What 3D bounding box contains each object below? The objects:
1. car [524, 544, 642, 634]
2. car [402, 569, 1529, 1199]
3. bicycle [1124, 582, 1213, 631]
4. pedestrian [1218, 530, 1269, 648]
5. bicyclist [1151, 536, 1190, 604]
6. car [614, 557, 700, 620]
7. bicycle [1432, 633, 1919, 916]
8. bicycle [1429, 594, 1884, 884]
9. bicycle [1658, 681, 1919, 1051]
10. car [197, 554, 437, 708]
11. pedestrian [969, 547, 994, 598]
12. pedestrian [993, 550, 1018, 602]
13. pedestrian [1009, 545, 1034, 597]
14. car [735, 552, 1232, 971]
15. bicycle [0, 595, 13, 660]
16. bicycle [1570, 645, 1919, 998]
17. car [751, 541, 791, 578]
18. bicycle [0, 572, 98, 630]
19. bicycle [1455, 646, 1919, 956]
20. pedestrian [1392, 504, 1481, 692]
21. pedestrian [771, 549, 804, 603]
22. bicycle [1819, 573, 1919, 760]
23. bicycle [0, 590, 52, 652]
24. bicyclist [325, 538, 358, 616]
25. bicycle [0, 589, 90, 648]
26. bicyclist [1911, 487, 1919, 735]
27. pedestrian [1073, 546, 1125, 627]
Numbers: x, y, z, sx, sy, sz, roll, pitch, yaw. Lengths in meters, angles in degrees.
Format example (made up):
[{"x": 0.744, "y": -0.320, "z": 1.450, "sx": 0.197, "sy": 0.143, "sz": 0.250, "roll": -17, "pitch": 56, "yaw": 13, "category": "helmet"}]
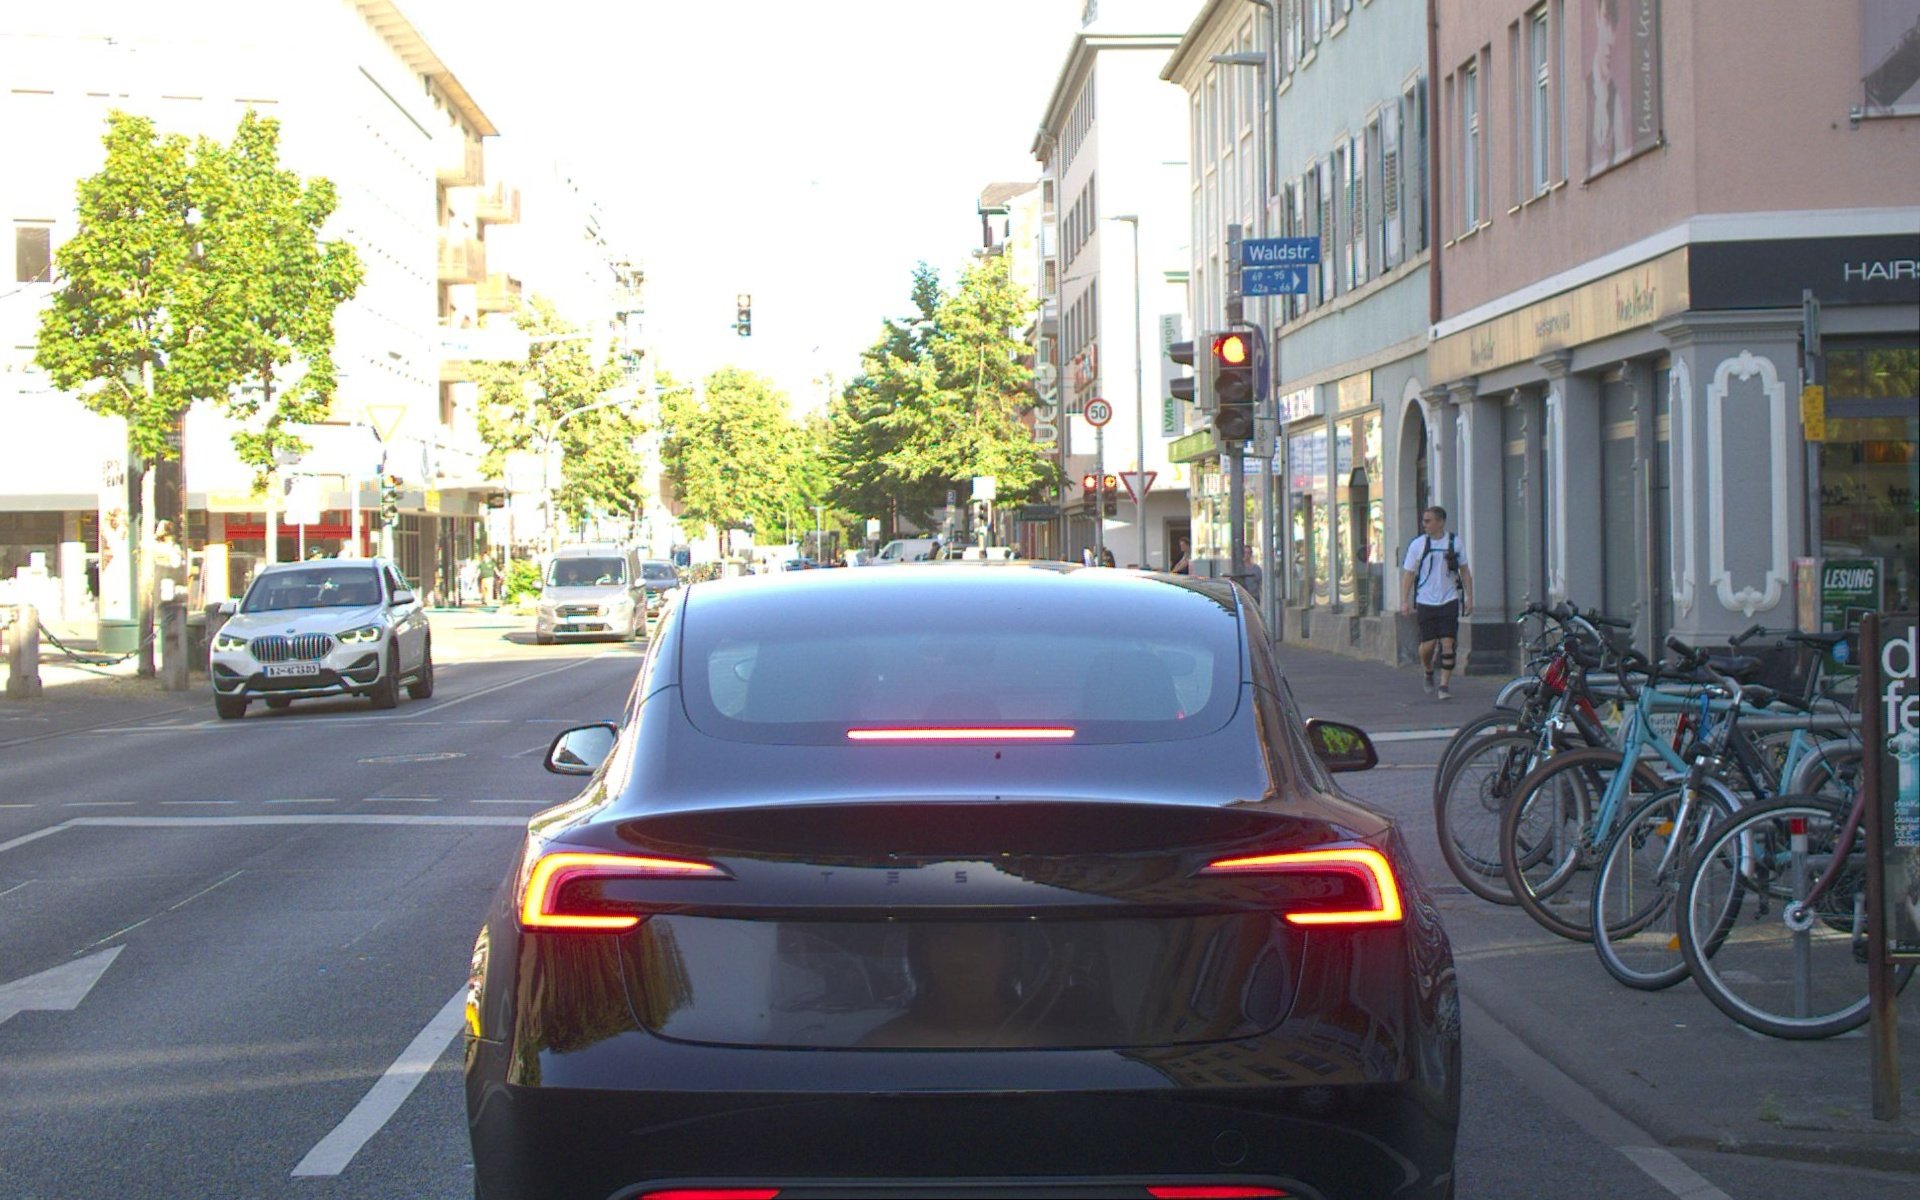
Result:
[{"x": -7.050, "y": -0.229, "z": 64.676, "sx": 1.787, "sy": 1.640, "sz": 4.403, "roll": 0, "pitch": 1, "yaw": -1, "category": "car"}, {"x": -0.014, "y": 0.655, "z": 7.564, "sx": 1.822, "sy": 1.437, "sz": 4.000, "roll": 0, "pitch": 1, "yaw": -1, "category": "car"}, {"x": 4.327, "y": 0.132, "z": 71.350, "sx": 1.784, "sy": 1.003, "sz": 0.472, "roll": 1, "pitch": 0, "yaw": -16, "category": "bicycle"}, {"x": 4.197, "y": -0.160, "z": 50.902, "sx": 0.706, "sy": 1.736, "sz": 0.540, "roll": 0, "pitch": 1, "yaw": -1, "category": "pedestrian"}, {"x": 4.373, "y": -0.627, "z": 71.357, "sx": 0.669, "sy": 1.390, "sz": 0.462, "roll": 1, "pitch": 0, "yaw": -16, "category": "bicyclist"}, {"x": -7.152, "y": -0.290, "z": 81.446, "sx": 1.715, "sy": 1.441, "sz": 3.845, "roll": 1, "pitch": 1, "yaw": -1, "category": "car"}, {"x": 2.848, "y": 0.684, "z": 13.640, "sx": 1.873, "sy": 1.034, "sz": 0.547, "roll": -2, "pitch": 0, "yaw": 5, "category": "bicycle"}, {"x": 2.960, "y": 0.589, "z": 14.723, "sx": 1.828, "sy": 1.165, "sz": 0.505, "roll": -2, "pitch": 0, "yaw": 5, "category": "bicycle"}, {"x": 3.015, "y": 0.752, "z": 9.992, "sx": 1.873, "sy": 1.034, "sz": 0.353, "roll": -2, "pitch": 0, "yaw": 6, "category": "bicycle"}, {"x": -6.700, "y": 0.290, "z": 36.183, "sx": 1.789, "sy": 1.455, "sz": 3.757, "roll": -2, "pitch": 1, "yaw": 0, "category": "car"}, {"x": 0.591, "y": -0.775, "z": 95.768, "sx": 0.472, "sy": 1.412, "sz": 0.522, "roll": 1, "pitch": 0, "yaw": -31, "category": "pedestrian"}, {"x": 1.261, "y": -0.661, "z": 95.058, "sx": 0.521, "sy": 1.417, "sz": 0.479, "roll": 1, "pitch": 0, "yaw": -30, "category": "pedestrian"}, {"x": 1.720, "y": -0.809, "z": 95.860, "sx": 0.521, "sy": 1.417, "sz": 0.479, "roll": 1, "pitch": 0, "yaw": -30, "category": "pedestrian"}, {"x": 0.013, "y": 0.533, "z": 13.768, "sx": 1.718, "sy": 1.420, "sz": 3.758, "roll": 0, "pitch": 1, "yaw": -2, "category": "car"}, {"x": -14.734, "y": 0.389, "z": 49.792, "sx": 1.864, "sy": 0.931, "sz": 0.606, "roll": 1, "pitch": 0, "yaw": -1, "category": "bicycle"}, {"x": 2.969, "y": 0.700, "z": 11.171, "sx": 1.873, "sy": 1.084, "sz": 0.414, "roll": -2, "pitch": 0, "yaw": 4, "category": "bicycle"}, {"x": -10.295, "y": -2.202, "z": 187.063, "sx": 1.993, "sy": 2.007, "sz": 4.000, "roll": 0, "pitch": 1, "yaw": -1, "category": "car"}, {"x": -20.815, "y": 0.015, "z": 77.983, "sx": 2.361, "sy": 1.291, "sz": 0.513, "roll": 1, "pitch": 0, "yaw": -26, "category": "bicycle"}, {"x": 2.776, "y": 0.717, "z": 12.456, "sx": 1.873, "sy": 1.034, "sz": 0.533, "roll": -2, "pitch": 0, "yaw": 4, "category": "bicycle"}, {"x": 4.546, "y": -0.023, "z": 32.839, "sx": 0.750, "sy": 1.759, "sz": 0.836, "roll": -1, "pitch": 0, "yaw": 4, "category": "pedestrian"}, {"x": -5.444, "y": -0.749, "z": 108.499, "sx": 0.715, "sy": 1.689, "sz": 0.851, "roll": 0, "pitch": 1, "yaw": -28, "category": "pedestrian"}, {"x": 6.186, "y": 0.393, "z": 20.705, "sx": 1.935, "sy": 1.114, "sz": 0.708, "roll": 0, "pitch": 0, "yaw": 12, "category": "bicycle"}, {"x": -14.806, "y": 0.313, "z": 52.205, "sx": 1.864, "sy": 0.931, "sz": 0.606, "roll": 0, "pitch": 1, "yaw": -1, "category": "bicycle"}, {"x": -11.889, "y": -0.446, "z": 66.081, "sx": 0.522, "sy": 1.498, "sz": 0.476, "roll": 1, "pitch": 0, "yaw": -24, "category": "bicyclist"}, {"x": -14.834, "y": 0.288, "z": 54.654, "sx": 1.864, "sy": 0.931, "sz": 0.606, "roll": 0, "pitch": 1, "yaw": -1, "category": "bicycle"}, {"x": 6.215, "y": 0.064, "z": 20.707, "sx": 0.891, "sy": 1.477, "sz": 0.701, "roll": 0, "pitch": 1, "yaw": 13, "category": "bicyclist"}, {"x": 2.802, "y": -0.275, "z": 69.291, "sx": 0.754, "sy": 1.626, "sz": 0.956, "roll": 1, "pitch": 0, "yaw": -18, "category": "pedestrian"}]
